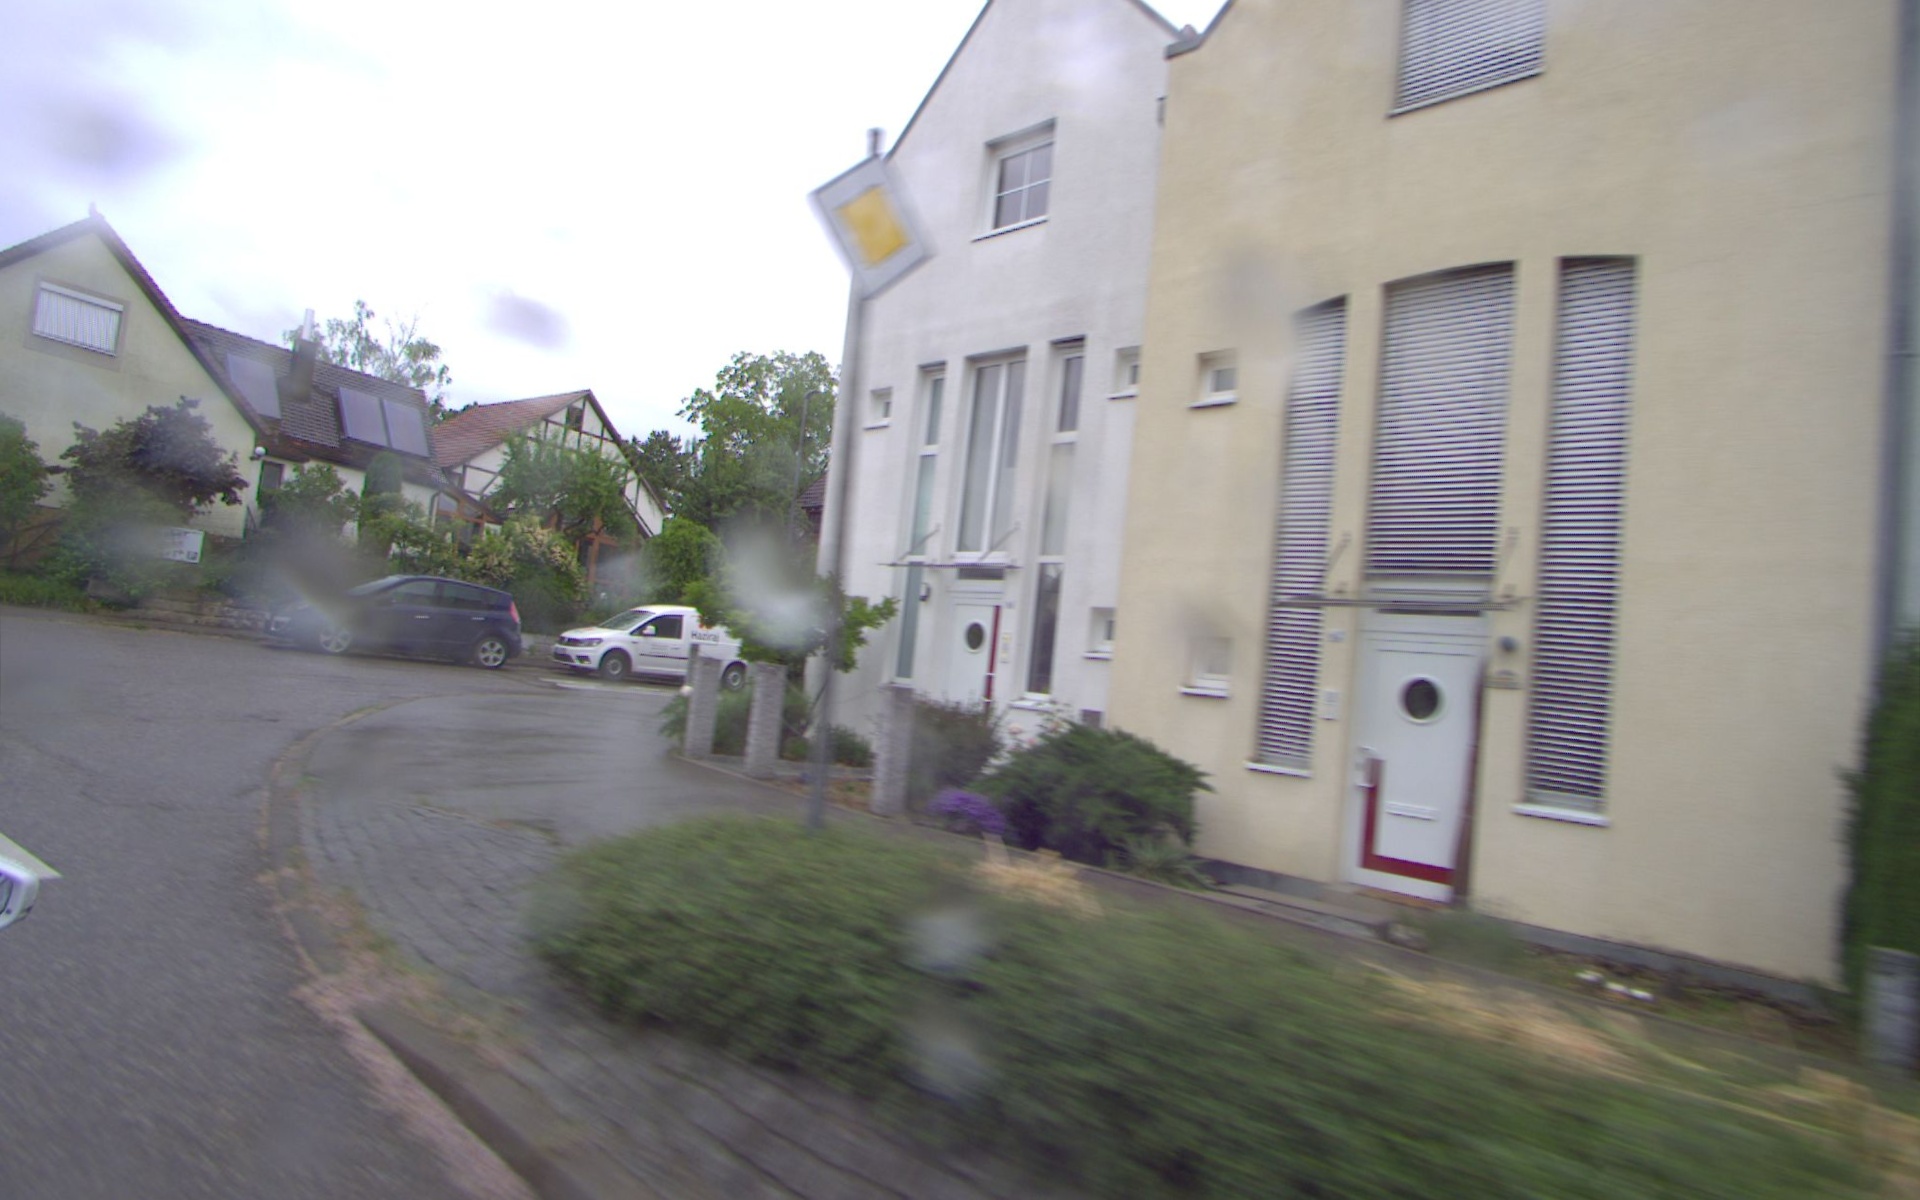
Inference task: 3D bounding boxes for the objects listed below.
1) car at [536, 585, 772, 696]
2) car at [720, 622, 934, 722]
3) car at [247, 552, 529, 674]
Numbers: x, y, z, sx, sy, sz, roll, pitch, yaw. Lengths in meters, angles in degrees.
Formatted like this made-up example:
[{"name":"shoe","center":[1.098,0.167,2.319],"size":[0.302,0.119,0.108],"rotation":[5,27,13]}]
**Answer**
[{"name":"car","center":[-6.810,0.967,22.823],"size":[1.781,1.823,4.681],"rotation":[5,-5,44]},{"name":"car","center":[-2.511,1.438,19.633],"size":[1.781,1.421,3.720],"rotation":[4,-6,44]},{"name":"car","center":[-10.638,0.293,18.915],"size":[1.841,1.601,4.129],"rotation":[4,-5,44]}]
